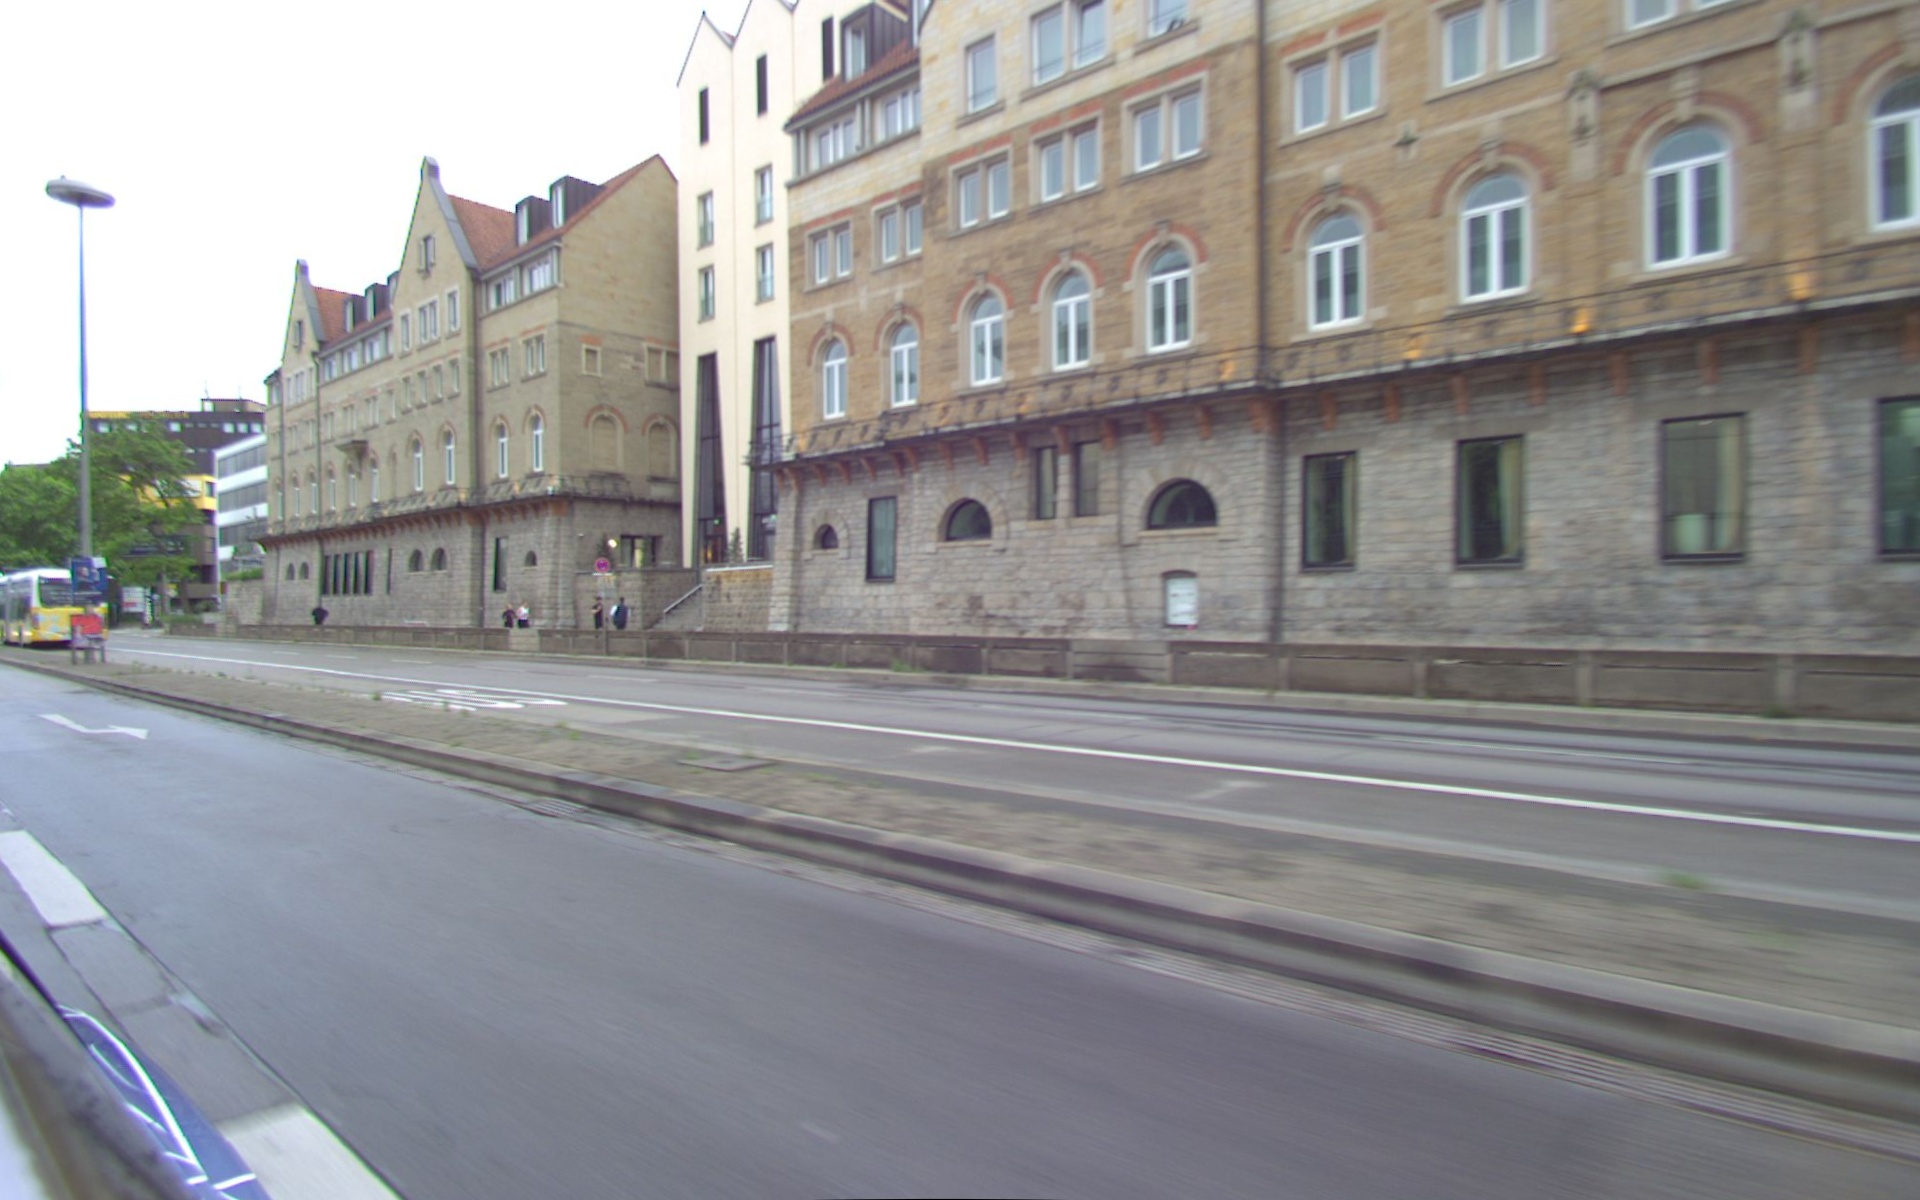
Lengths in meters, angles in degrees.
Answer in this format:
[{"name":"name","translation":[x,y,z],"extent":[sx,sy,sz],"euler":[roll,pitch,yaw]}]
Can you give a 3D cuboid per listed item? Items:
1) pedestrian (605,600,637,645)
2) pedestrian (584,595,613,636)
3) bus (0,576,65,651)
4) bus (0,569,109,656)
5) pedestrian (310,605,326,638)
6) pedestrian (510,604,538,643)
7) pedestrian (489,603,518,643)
[{"name":"pedestrian","translation":[-11.450,0.772,34.138],"extent":[0.713,1.489,0.746],"euler":[-3,-3,40]},{"name":"pedestrian","translation":[-13.188,0.570,36.923],"extent":[0.713,1.489,0.746],"euler":[-3,-3,40]},{"name":"bus","translation":[-49.047,0.706,52.382],"extent":[10.086,3.586,2.671],"euler":[-1,-1,40]},{"name":"bus","translation":[-41.238,0.568,45.699],"extent":[10.086,3.586,2.671],"euler":[-1,-1,40]},{"name":"pedestrian","translation":[-35.113,1.177,55.338],"extent":[0.631,1.759,0.623],"euler":[-1,-2,-23]},{"name":"pedestrian","translation":[-16.623,0.897,38.575],"extent":[0.713,1.489,0.746],"euler":[-3,-3,40]},{"name":"pedestrian","translation":[-17.145,0.865,37.987],"extent":[0.713,1.489,0.746],"euler":[-3,-3,40]}]
